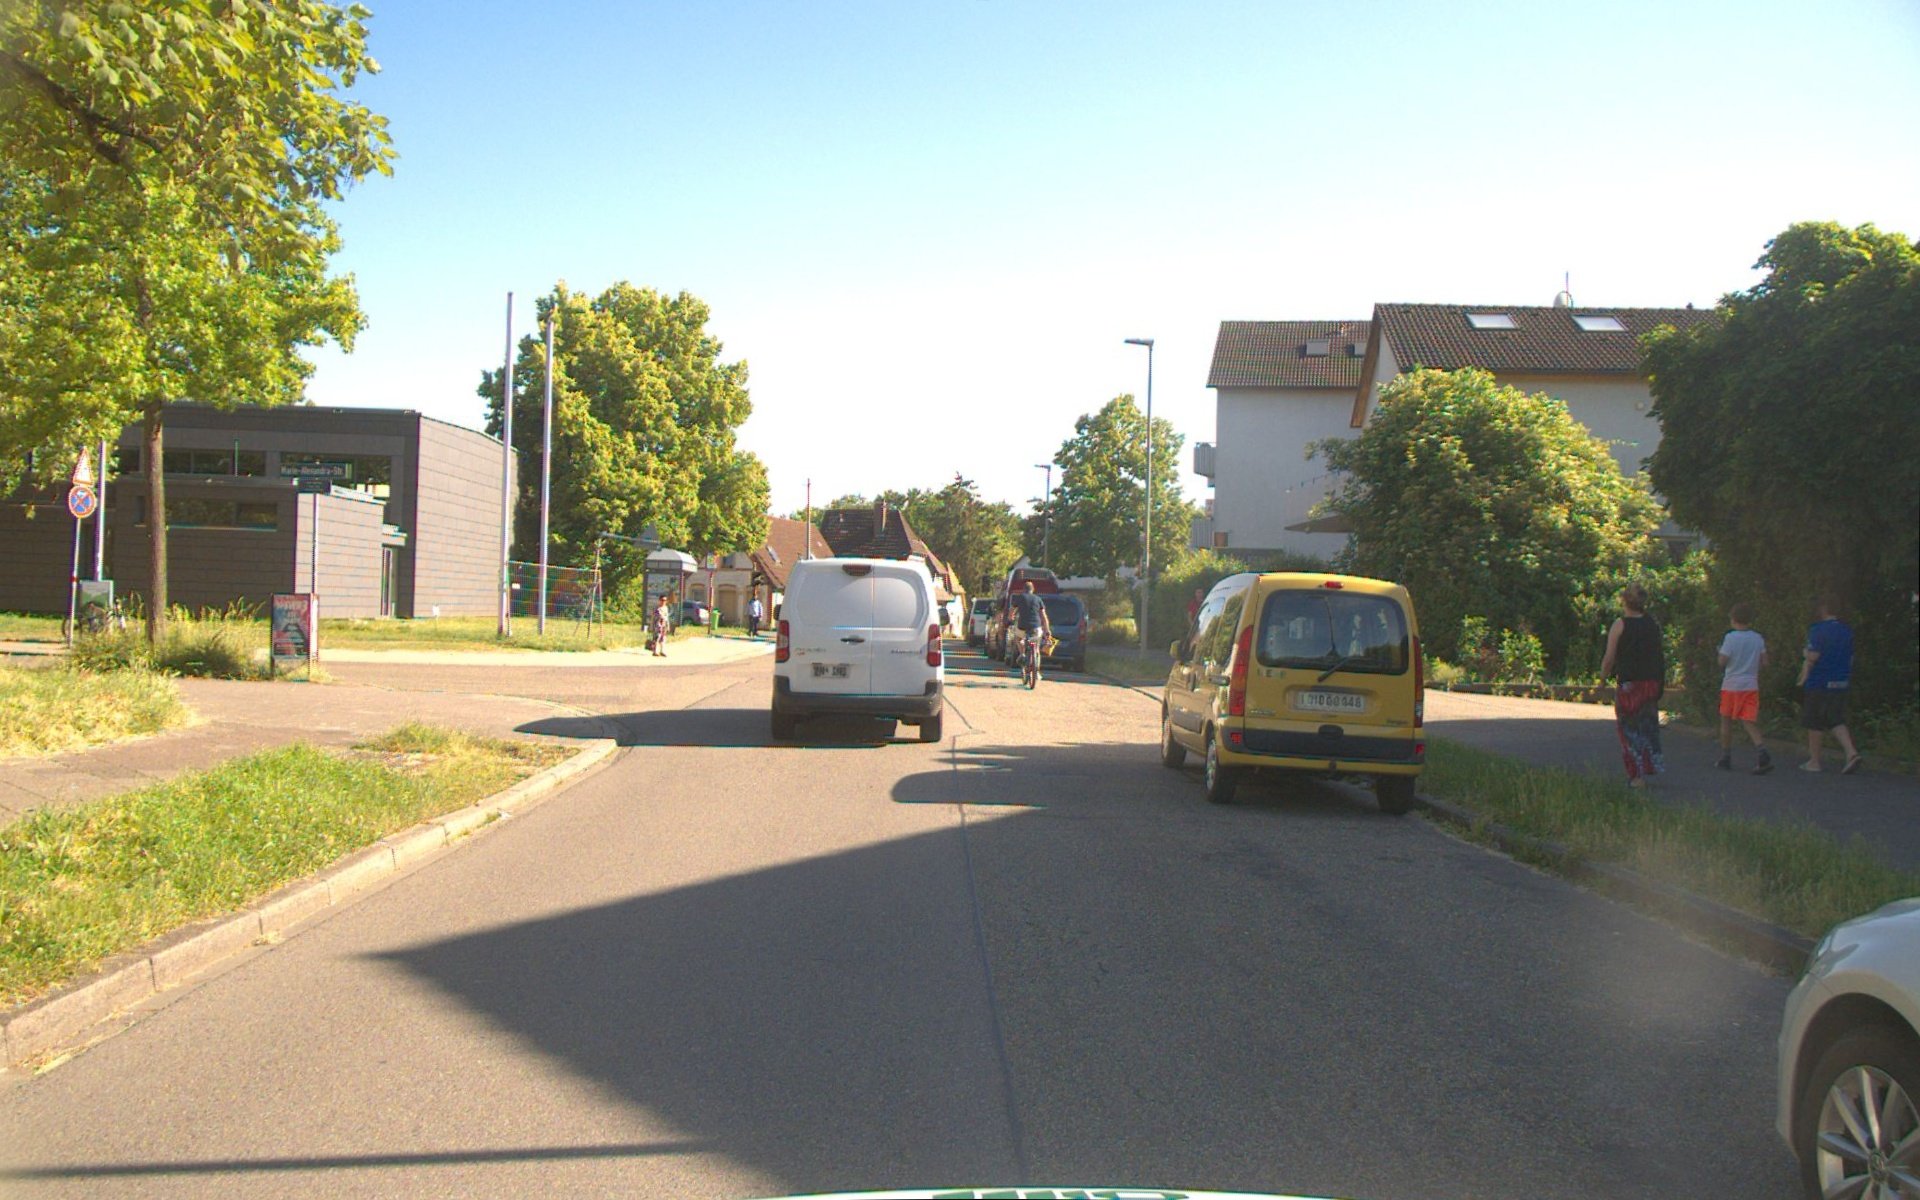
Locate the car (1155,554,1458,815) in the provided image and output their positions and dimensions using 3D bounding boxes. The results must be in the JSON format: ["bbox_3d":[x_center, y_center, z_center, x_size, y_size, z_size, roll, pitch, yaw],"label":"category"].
[{"bbox_3d":[2.794,0.636,14.218,1.689,1.869,3.999,2,0,0],"label":"car"}]

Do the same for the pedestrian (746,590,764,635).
[{"bbox_3d":[-8.532,0.535,68.853,0.609,1.836,0.640,2,-2,-3],"label":"pedestrian"}]

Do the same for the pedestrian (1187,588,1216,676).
[{"bbox_3d":[5.191,0.677,35.536,0.474,1.863,0.486,-2,0,-3],"label":"pedestrian"}]

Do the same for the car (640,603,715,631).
[{"bbox_3d":[-16.392,1.001,96.126,3.893,1.454,1.716,2,0,16],"label":"car"}]

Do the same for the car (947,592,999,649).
[{"bbox_3d":[0.500,0.839,66.993,1.768,2.105,3.997,4,-1,-3],"label":"car"}]

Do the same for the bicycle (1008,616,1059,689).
[{"bbox_3d":[1.246,0.881,28.455,0.770,1.158,2.280,1,0,0],"label":"bicycle"}]

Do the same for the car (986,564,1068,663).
[{"bbox_3d":[1.883,0.411,47.853,1.829,2.607,4.764,4,-1,-3],"label":"car"}]

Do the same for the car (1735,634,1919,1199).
[{"bbox_3d":[3.093,0.856,2.507,1.790,1.477,3.998,2,0,-3],"label":"car"}]

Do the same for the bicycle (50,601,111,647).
[{"bbox_3d":[-17.858,0.478,33.584,0.432,0.903,1.012,1,1,44],"label":"bicycle"}]

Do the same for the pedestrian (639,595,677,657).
[{"bbox_3d":[-7.412,0.647,40.602,0.500,1.470,0.637,4,0,31],"label":"pedestrian"}]

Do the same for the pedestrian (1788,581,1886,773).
[{"bbox_3d":[7.824,0.675,14.772,0.555,1.665,0.547,2,0,4],"label":"pedestrian"}]

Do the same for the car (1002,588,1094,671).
[{"bbox_3d":[2.115,0.716,40.749,1.768,1.816,3.997,4,-1,-3],"label":"car"}]

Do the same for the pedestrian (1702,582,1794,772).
[{"bbox_3d":[7.108,0.684,14.939,0.555,1.665,0.547,2,0,4],"label":"pedestrian"}]

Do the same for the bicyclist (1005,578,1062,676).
[{"bbox_3d":[1.258,0.464,28.496,0.887,1.612,0.966,2,-1,0],"label":"bicyclist"}]

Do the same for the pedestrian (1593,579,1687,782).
[{"bbox_3d":[5.748,0.664,13.997,0.555,1.665,0.547,2,0,4],"label":"pedestrian"}]

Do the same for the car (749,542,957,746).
[{"bbox_3d":[-1.125,0.426,18.208,1.954,1.914,4.287,2,0,-3],"label":"car"}]
